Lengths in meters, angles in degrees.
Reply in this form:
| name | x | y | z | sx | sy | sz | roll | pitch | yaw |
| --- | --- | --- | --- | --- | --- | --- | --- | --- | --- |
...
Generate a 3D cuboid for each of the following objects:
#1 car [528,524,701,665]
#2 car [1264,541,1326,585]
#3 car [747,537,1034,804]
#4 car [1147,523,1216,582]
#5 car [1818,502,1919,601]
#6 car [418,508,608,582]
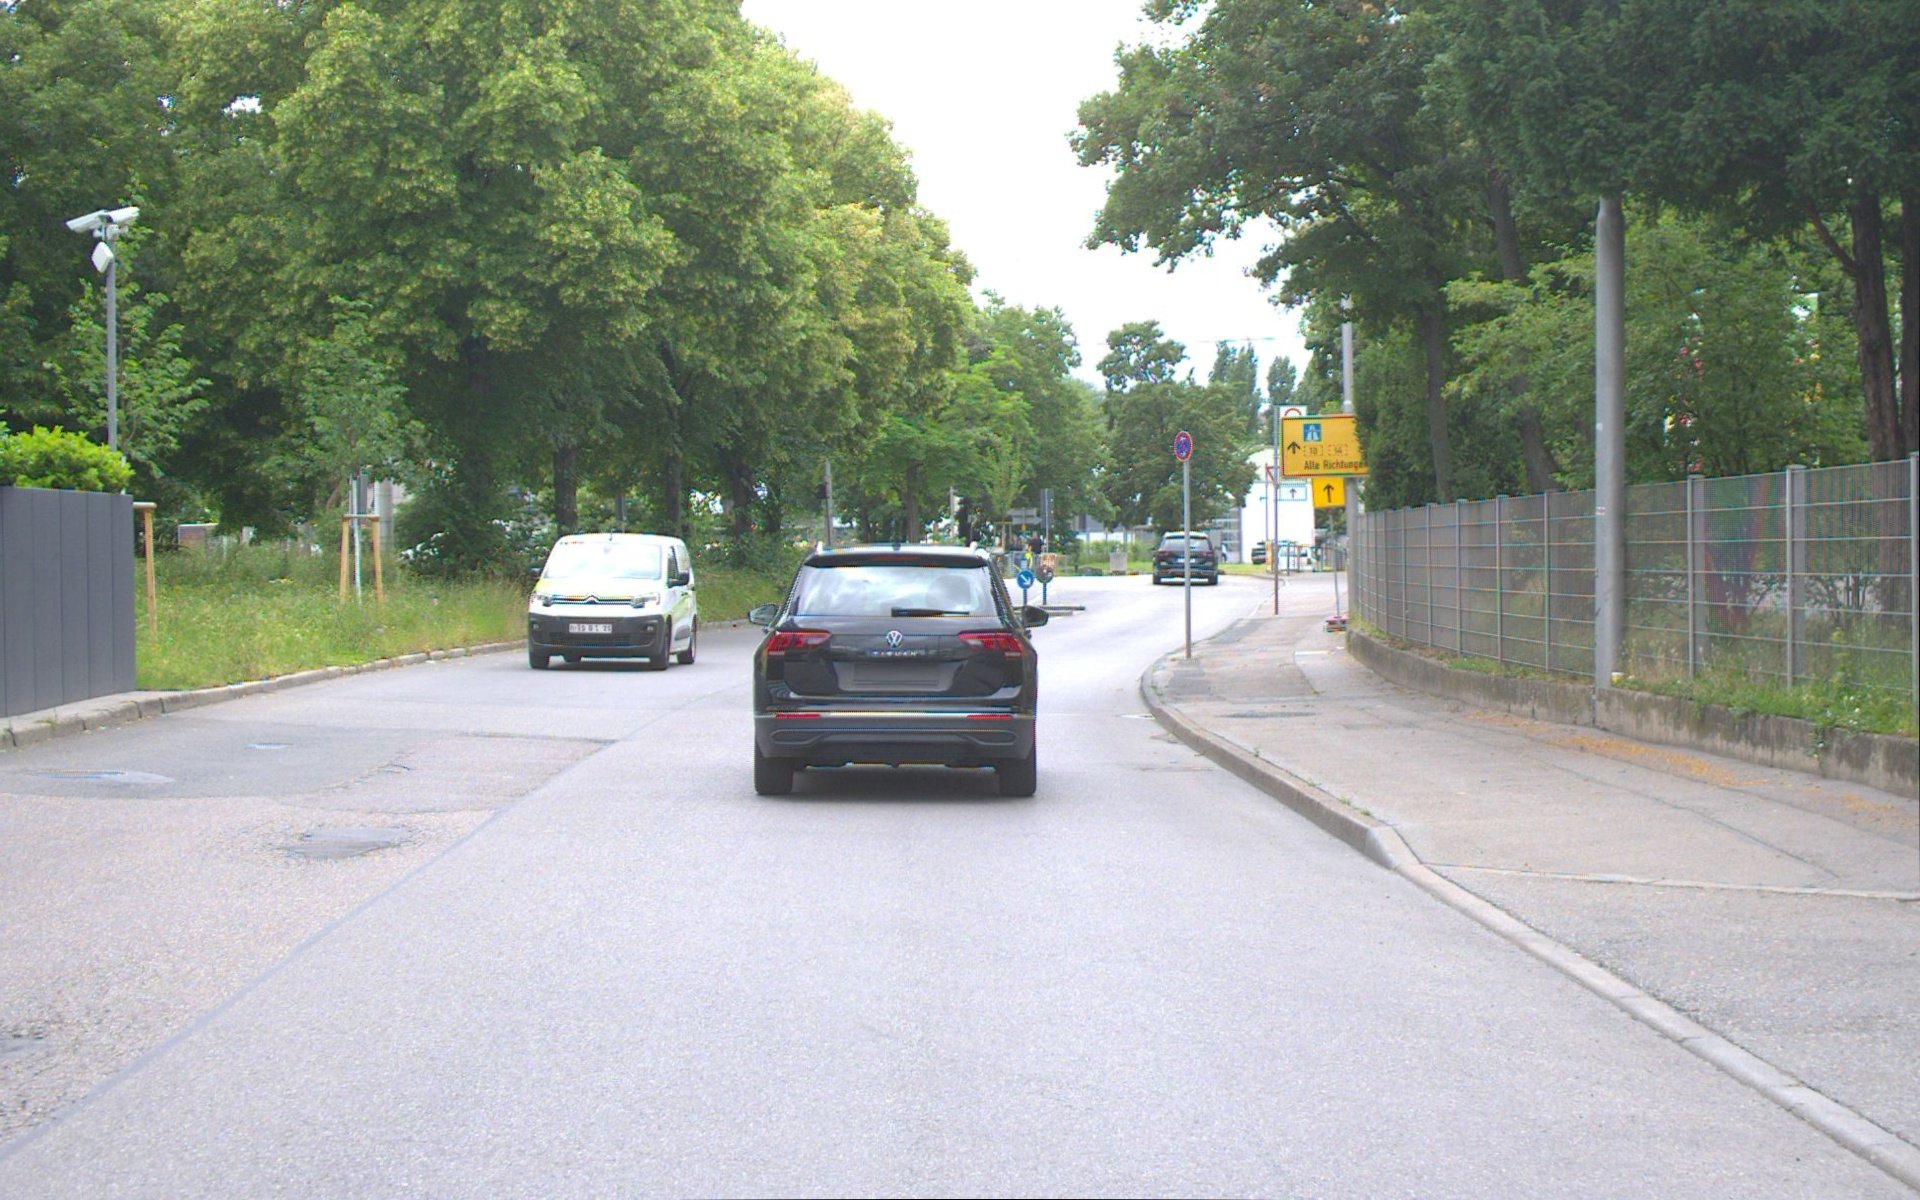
| name | x | y | z | sx | sy | sz | roll | pitch | yaw |
| --- | --- | --- | --- | --- | --- | --- | --- | --- | --- |
| car | -4.501 | -0.105 | 45.327 | 1.808 | 1.758 | 4.206 | 1 | 1 | 1 |
| car | 13.839 | -1.540 | 141.875 | 1.995 | 1.780 | 3.998 | 0 | 1 | 14 |
| car | -0.394 | 0.430 | 22.847 | 1.739 | 1.612 | 3.641 | 1 | 0 | 1 |
| car | 6.192 | -1.328 | 96.279 | 1.659 | 1.569 | 3.829 | -1 | 1 | 0 |
| car | 15.592 | -0.776 | 52.041 | 1.994 | 1.469 | 4.691 | -2 | 1 | -42 |
| car | -15.138 | -1.867 | 116.735 | 6.070 | 2.379 | 2.395 | -1 | 1 | 2 |
